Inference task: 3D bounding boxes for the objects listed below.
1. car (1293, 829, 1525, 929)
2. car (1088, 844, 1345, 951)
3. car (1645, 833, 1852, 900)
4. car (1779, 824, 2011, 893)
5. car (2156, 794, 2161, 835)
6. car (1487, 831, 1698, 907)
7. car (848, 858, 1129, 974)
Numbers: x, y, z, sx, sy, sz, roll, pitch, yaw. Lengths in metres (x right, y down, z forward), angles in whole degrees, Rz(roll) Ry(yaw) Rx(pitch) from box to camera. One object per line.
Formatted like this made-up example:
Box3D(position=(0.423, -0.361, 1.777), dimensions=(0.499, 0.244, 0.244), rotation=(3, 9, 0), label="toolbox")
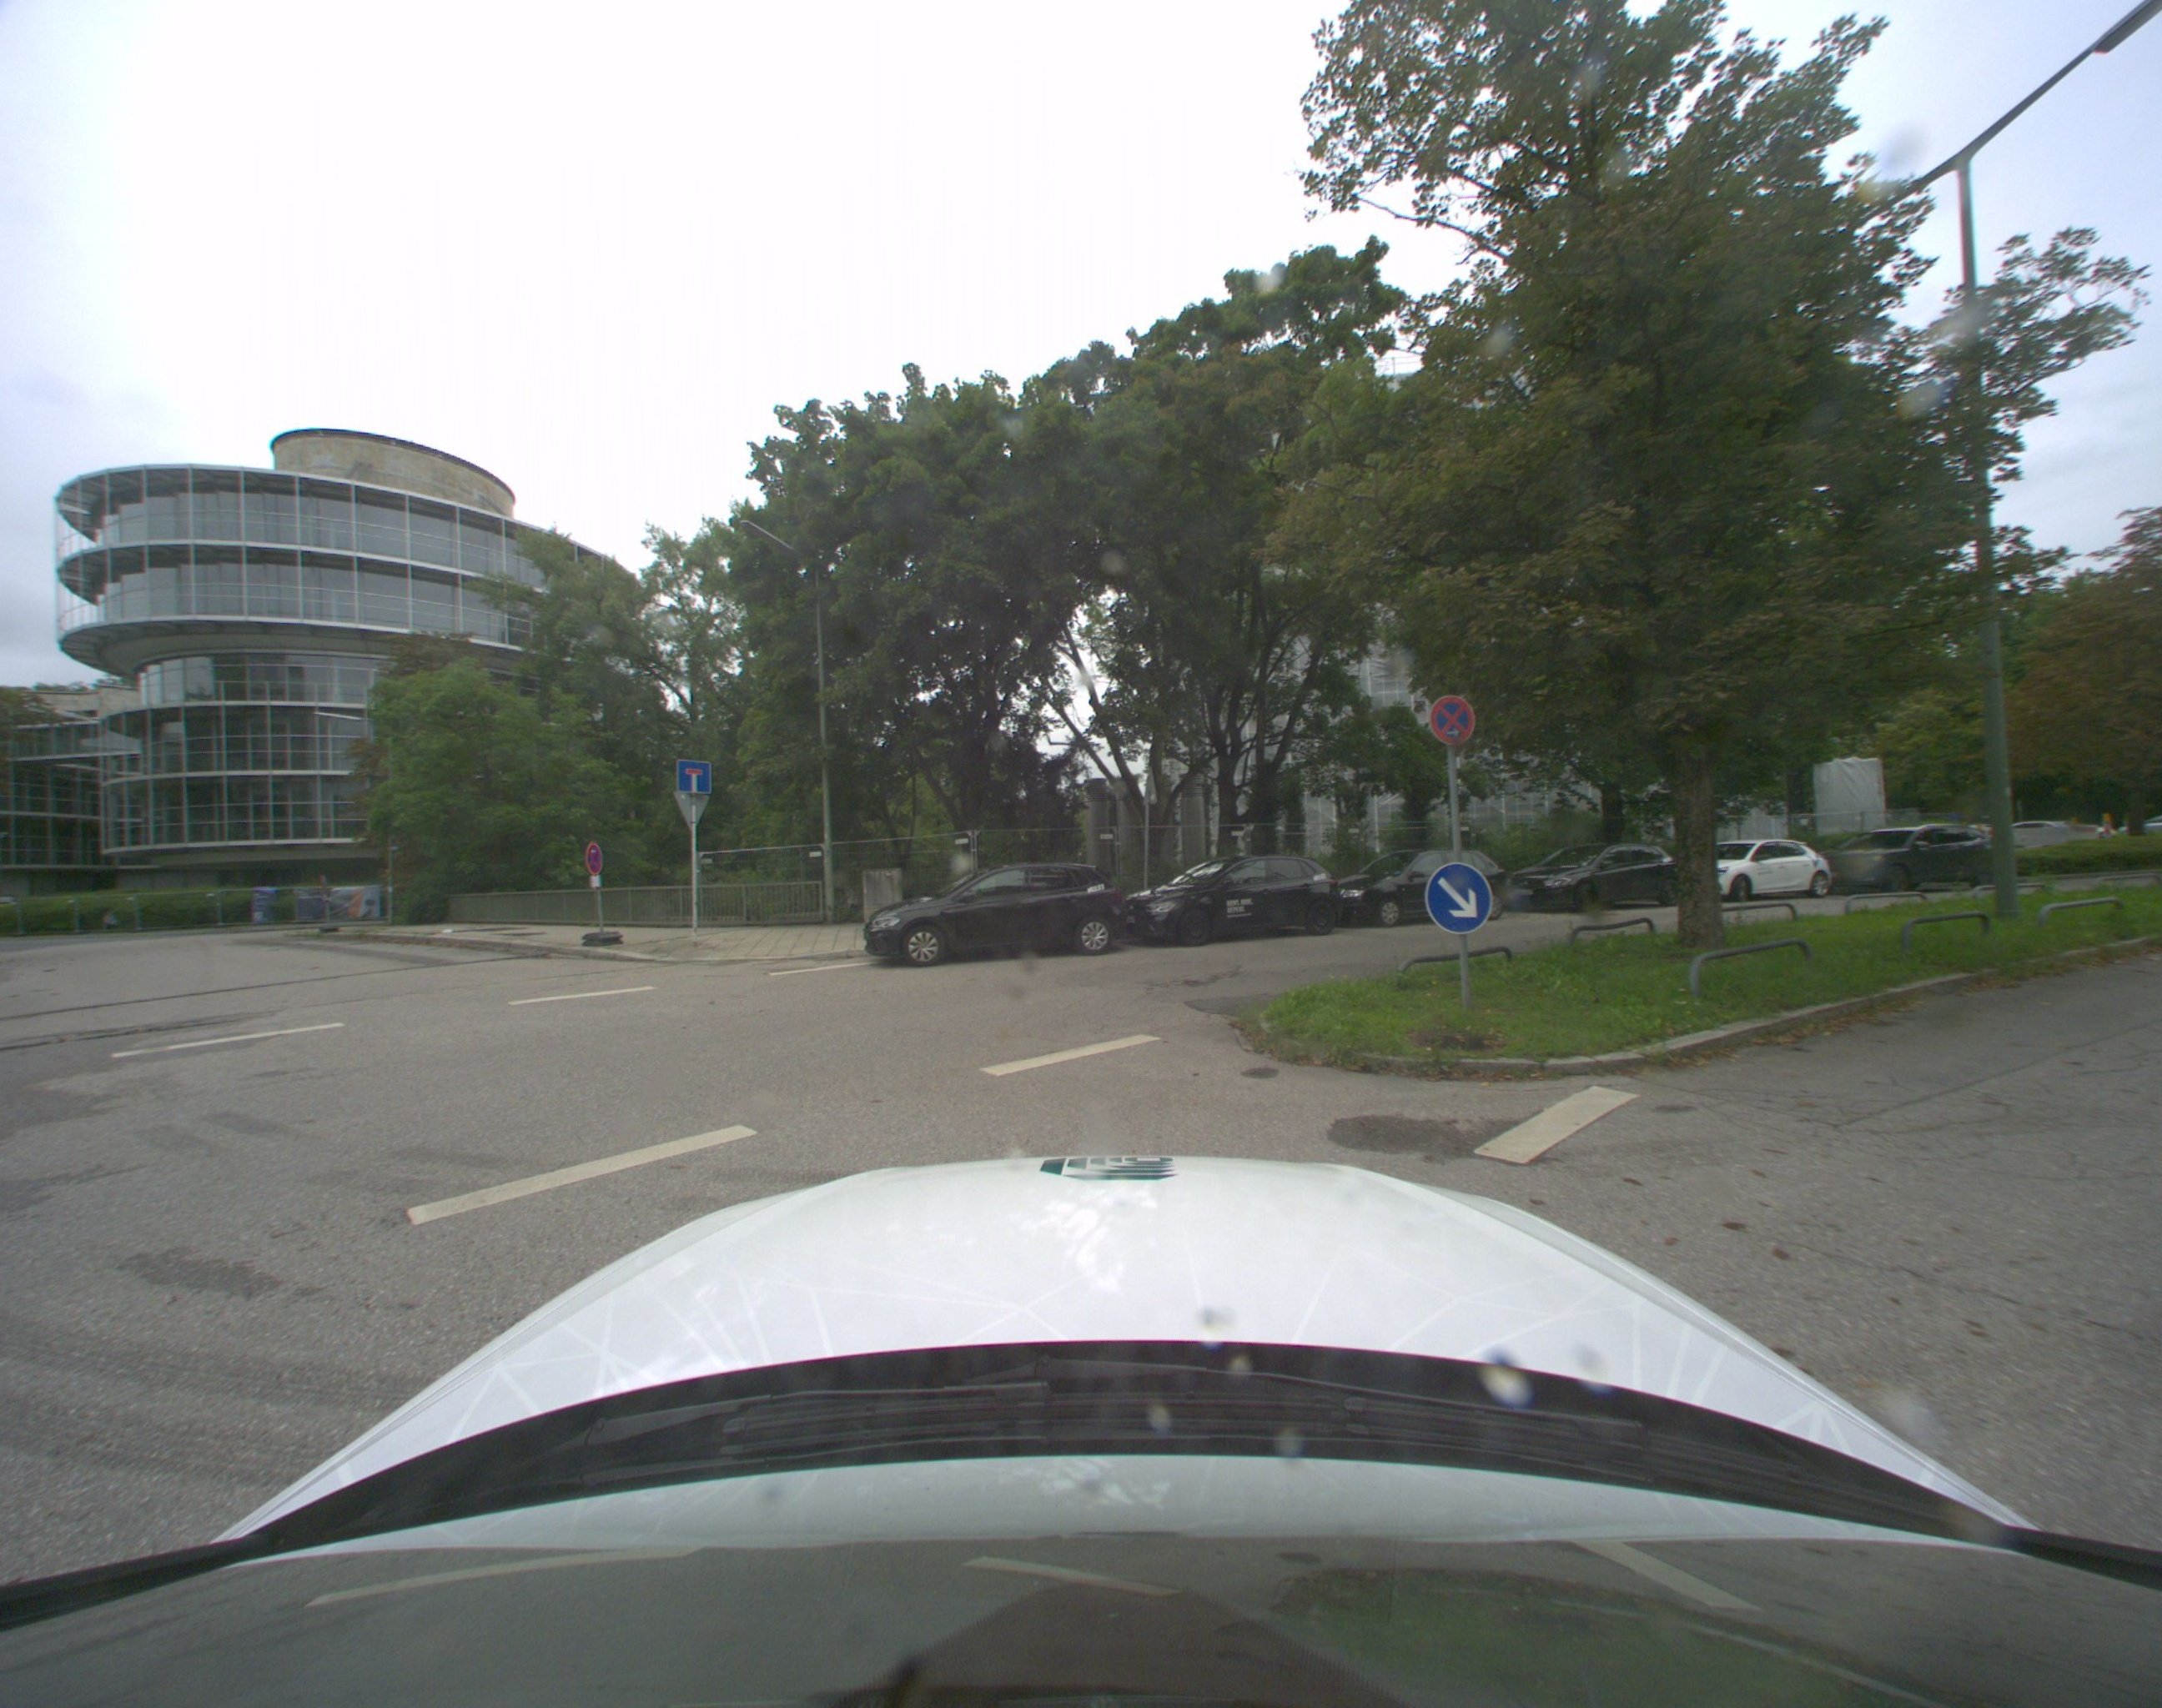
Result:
Box3D(position=(6.514, 0.429, 16.260), dimensions=(4.001, 1.706, 1.987), rotation=(-2, 1, -20), label="car")
Box3D(position=(2.346, 0.672, 14.331), dimensions=(4.001, 1.541, 1.987), rotation=(-2, 0, -20), label="car")
Box3D(position=(15.926, 0.289, 19.470), dimensions=(4.215, 1.383, 1.791), rotation=(-2, -1, -18), label="car")
Box3D(position=(20.287, 0.112, 20.379), dimensions=(4.381, 1.606, 1.886), rotation=(-1, -2, -9), label="car")
Box3D(position=(53.849, -1.998, 37.935), dimensions=(1.987, 2.014, 4.156), rotation=(-2, -1, 0), label="car")
Box3D(position=(11.268, 0.316, 17.979), dimensions=(4.006, 1.461, 1.828), rotation=(-2, -1, -20), label="car")
Box3D(position=(-1.506, 0.862, 12.832), dimensions=(4.042, 1.432, 1.987), rotation=(-2, 1, -20), label="car")
